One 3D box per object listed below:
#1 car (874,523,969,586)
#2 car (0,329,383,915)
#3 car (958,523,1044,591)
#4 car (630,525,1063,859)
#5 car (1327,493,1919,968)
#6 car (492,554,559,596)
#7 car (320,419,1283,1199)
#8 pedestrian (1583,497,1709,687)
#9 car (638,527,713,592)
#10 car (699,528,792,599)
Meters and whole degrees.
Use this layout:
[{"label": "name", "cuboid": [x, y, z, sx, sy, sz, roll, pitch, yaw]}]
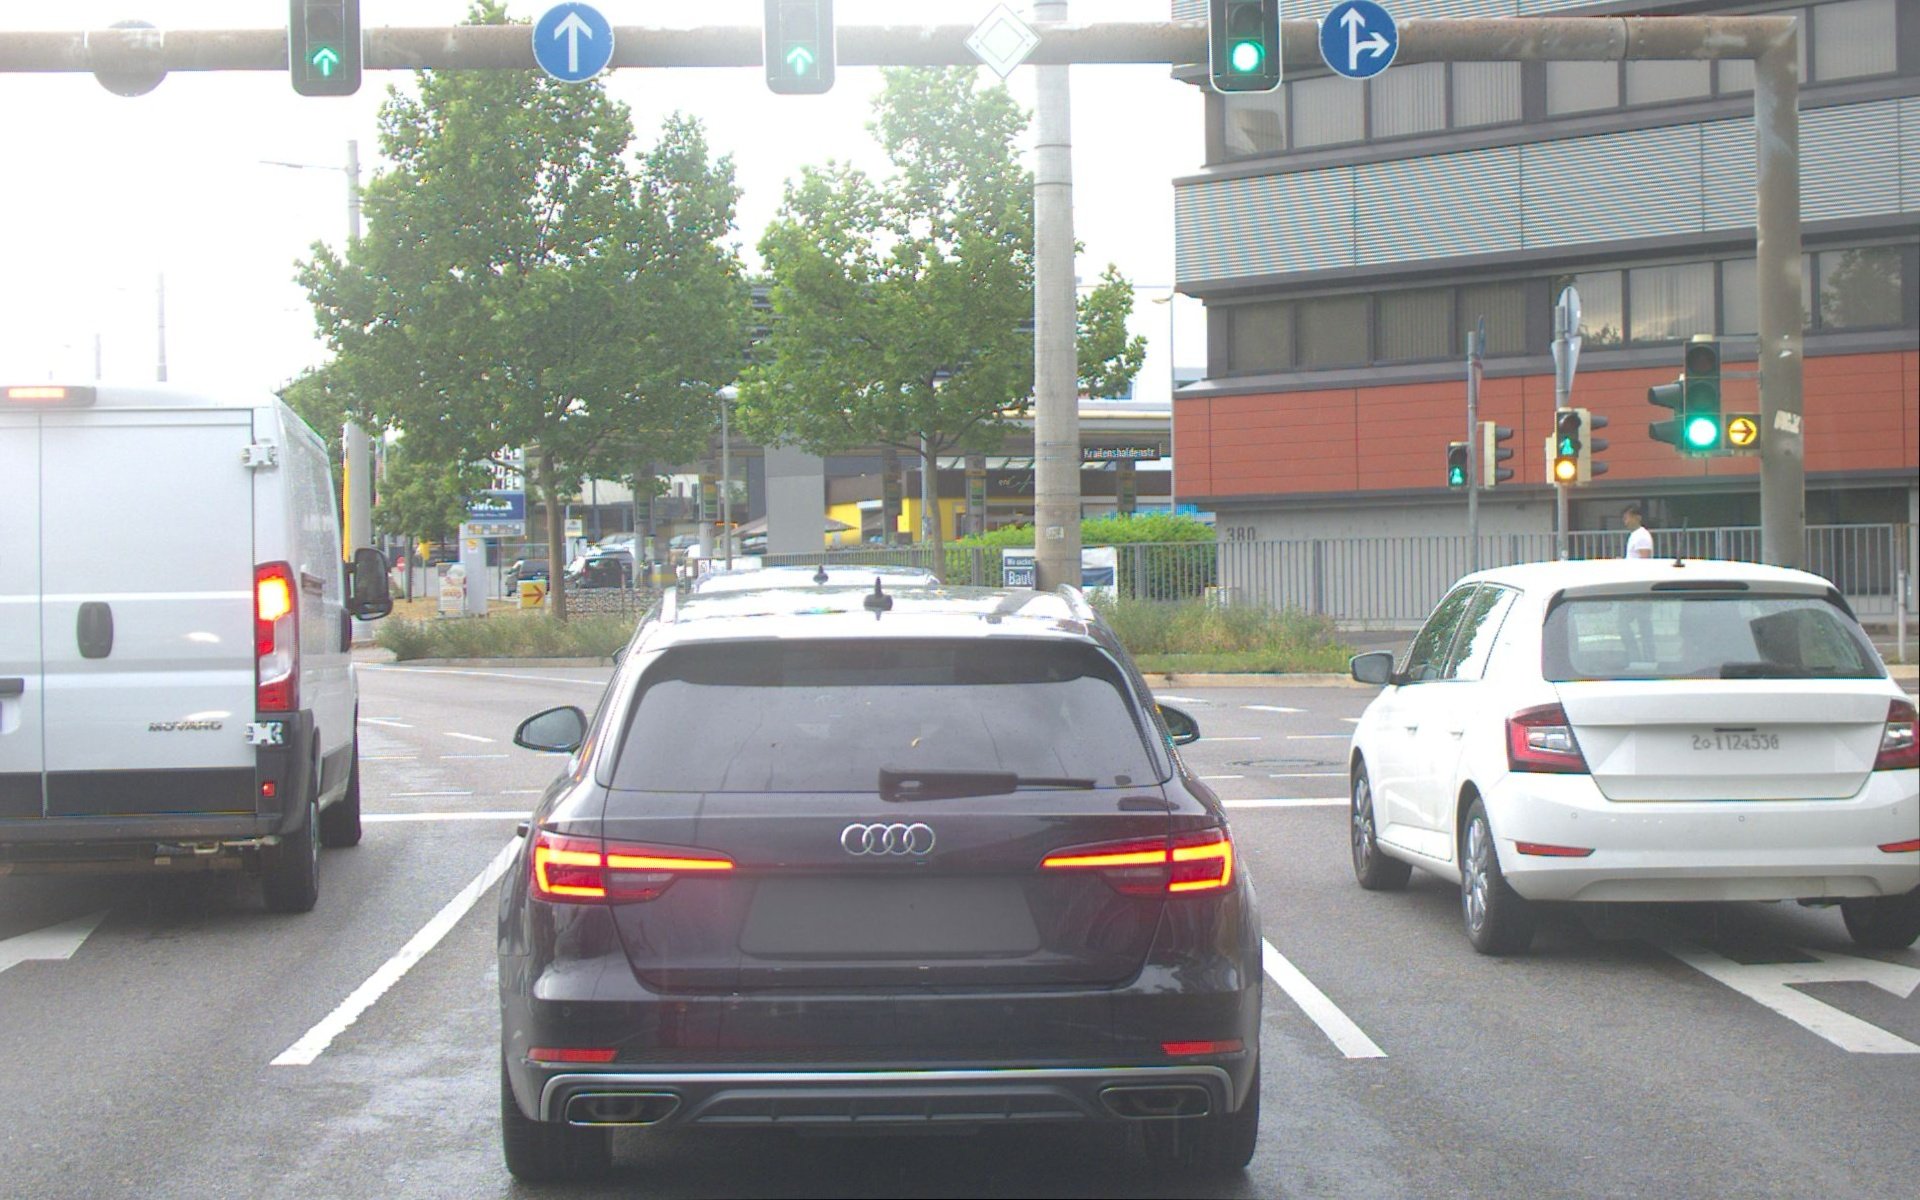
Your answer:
[{"label": "car", "cuboid": [-1.292, -1.481, 114.259, 1.869, 2.007, 3.775, 2, 0, -22]}, {"label": "car", "cuboid": [-4.054, 0.086, 15.946, 2.445, 2.286, 4.905, 2, 0, -7]}, {"label": "car", "cuboid": [1.248, -1.311, 105.887, 1.674, 2.007, 3.138, 2, 0, -18]}, {"label": "car", "cuboid": [-0.475, 0.411, 17.068, 1.894, 1.460, 3.909, 0, 0, 1]}, {"label": "car", "cuboid": [2.659, 0.467, 13.974, 1.829, 1.650, 4.000, 0, 0, -1]}, {"label": "car", "cuboid": [-16.856, -0.968, 133.270, 1.791, 1.586, 4.001, -1, 1, -19]}, {"label": "car", "cuboid": [-0.351, 0.455, 9.145, 1.993, 1.632, 4.000, 0, 0, -1]}, {"label": "pedestrian", "cuboid": [7.889, -0.107, 39.591, 1.143, 2.118, 1.222, -2, 2, -1]}, {"label": "car", "cuboid": [-9.195, -1.291, 110.903, 1.678, 2.007, 3.543, 2, 0, -17]}, {"label": "car", "cuboid": [-6.401, -1.073, 102.077, 1.993, 2.025, 4.001, -2, 1, -14]}]
